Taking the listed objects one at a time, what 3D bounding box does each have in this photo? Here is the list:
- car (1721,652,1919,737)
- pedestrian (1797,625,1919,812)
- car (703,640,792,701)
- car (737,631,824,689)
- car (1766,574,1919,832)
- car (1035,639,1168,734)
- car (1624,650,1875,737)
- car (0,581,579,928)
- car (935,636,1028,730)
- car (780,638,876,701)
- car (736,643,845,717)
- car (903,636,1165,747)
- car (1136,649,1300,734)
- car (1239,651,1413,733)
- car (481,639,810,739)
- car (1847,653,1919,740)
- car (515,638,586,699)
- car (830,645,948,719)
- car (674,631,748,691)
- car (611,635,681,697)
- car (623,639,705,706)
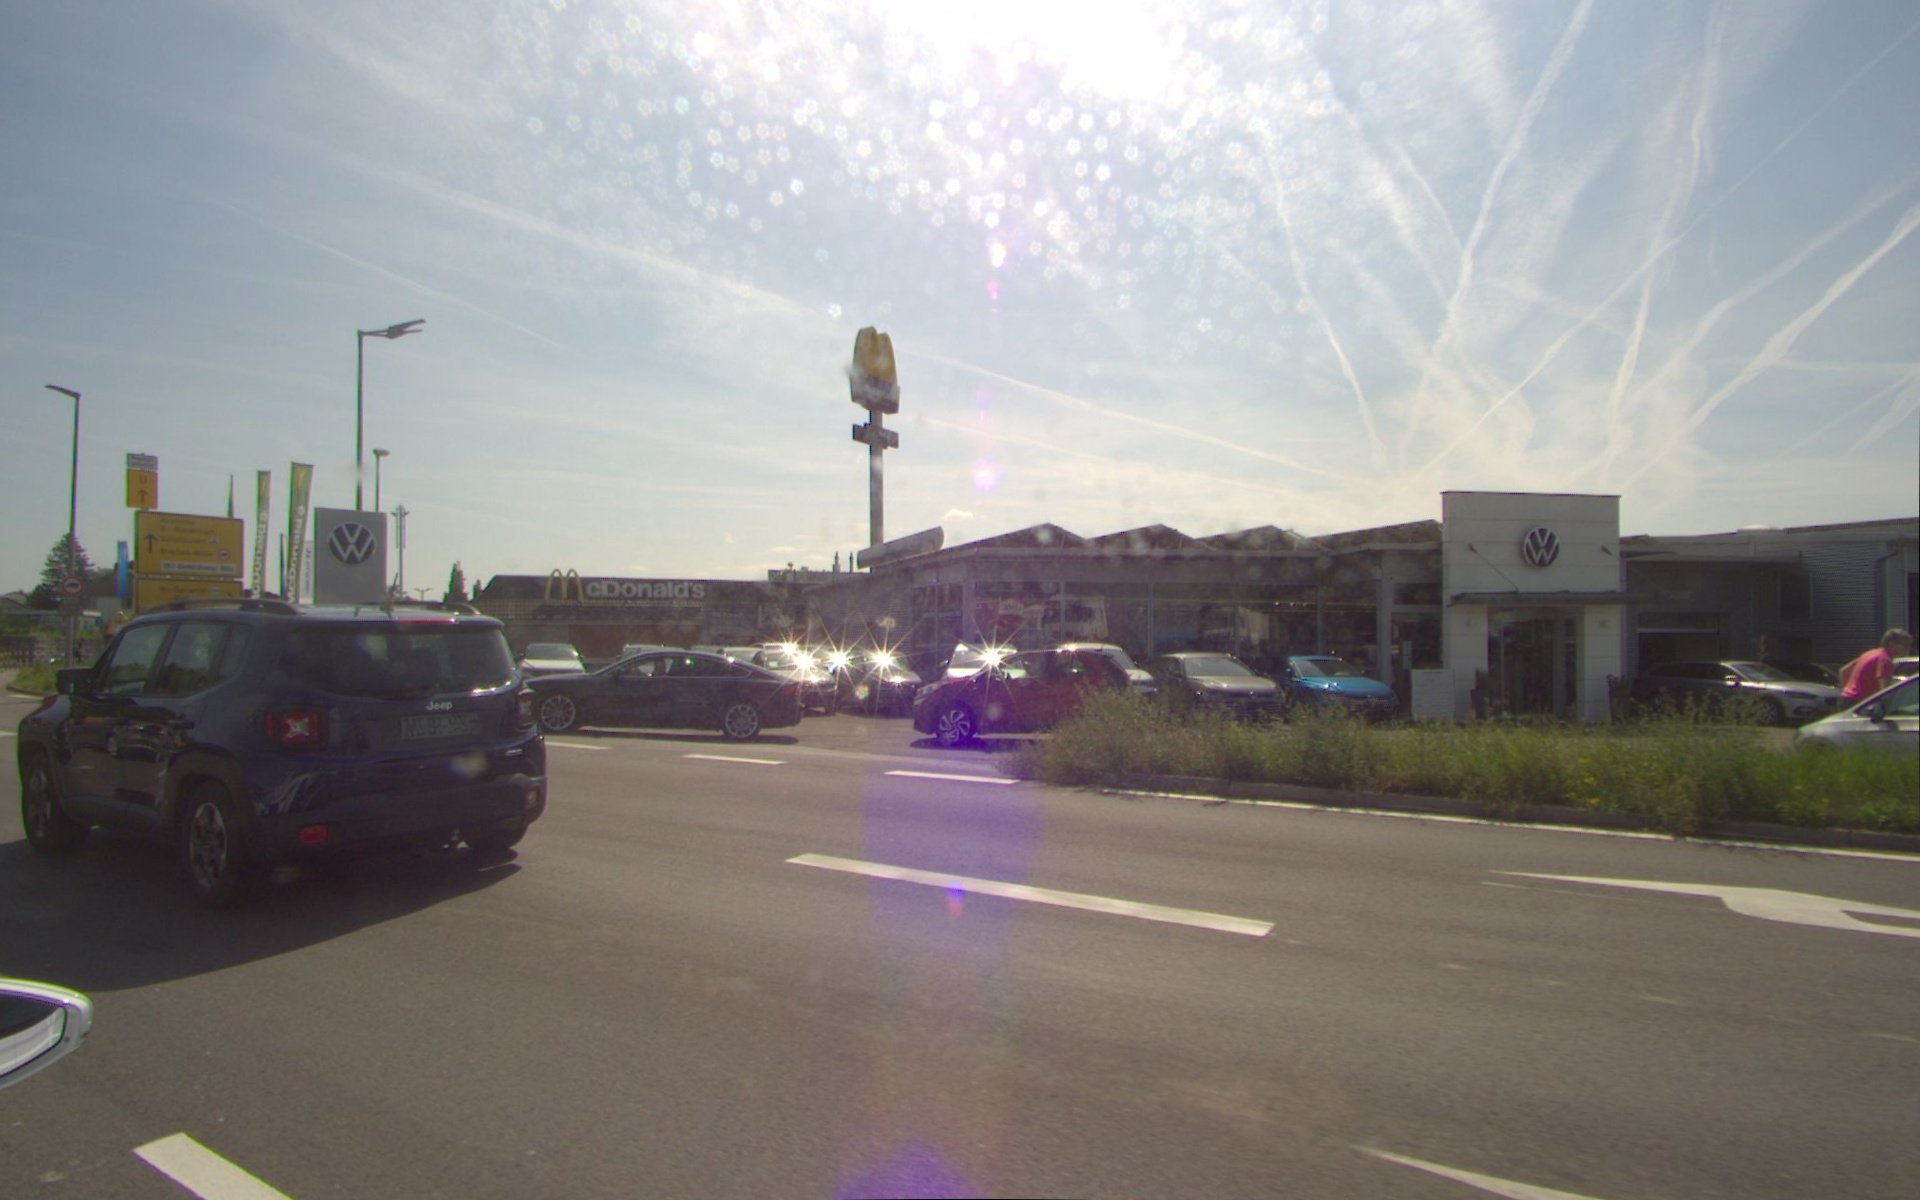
[{"bbox_3d":[20.673,2.134,23.611,1.744,1.676,4.166,0,-1,-14],"label":"car"},{"bbox_3d":[9.906,1.246,10.911,0.729,1.936,0.989,0,0,-2],"label":"pedestrian"},{"bbox_3d":[-6.016,1.909,28.008,1.767,1.469,4.143,0,-1,-22],"label":"car"},{"bbox_3d":[-5.951,1.880,32.726,1.881,1.692,4.804,0,-1,-22],"label":"car"},{"bbox_3d":[9.187,0.882,8.243,1.729,2.241,4.350,0,-1,2],"label":"car"},{"bbox_3d":[2.821,1.707,20.843,1.884,1.692,4.000,0,-1,-5],"label":"car"},{"bbox_3d":[18.339,2.091,23.573,1.744,1.676,4.545,0,-1,-14],"label":"car"},{"bbox_3d":[-4.545,0.784,6.657,3.943,1.676,1.767,-1,-1,32],"label":"car"},{"bbox_3d":[0.461,1.637,20.904,1.741,1.692,4.026,0,-1,2],"label":"car"},{"bbox_3d":[-3.758,1.889,28.031,1.747,1.538,3.949,0,-1,-22],"label":"car"},{"bbox_3d":[-4.172,1.842,24.150,1.720,1.511,4.252,0,-1,-22],"label":"car"},{"bbox_3d":[1.201,1.434,16.229,3.998,1.675,1.777,0,-3,7],"label":"car"},{"bbox_3d":[5.289,1.832,21.115,1.858,1.476,4.209,0,-1,-9],"label":"car"},{"bbox_3d":[7.738,1.901,21.620,1.789,1.428,4.112,0,-1,-9],"label":"car"},{"bbox_3d":[-4.917,1.477,16.212,4.729,1.347,1.967,3,-6,-13],"label":"car"},{"bbox_3d":[19.422,1.883,18.730,1.662,1.629,4.074,1,-1,-10],"label":"car"},{"bbox_3d":[-12.147,1.969,29.774,1.830,1.597,4.221,0,-1,-22],"label":"car"},{"bbox_3d":[-1.767,1.865,23.843,1.721,1.495,3.784,0,-1,-22],"label":"car"},{"bbox_3d":[-7.971,1.871,31.835,1.747,1.692,4.158,0,-1,-22],"label":"car"},{"bbox_3d":[-9.656,1.962,30.633,1.747,1.692,3.898,0,-1,-22],"label":"car"},{"bbox_3d":[-7.988,1.878,26.814,1.747,1.552,4.078,0,-1,-22],"label":"car"}]
